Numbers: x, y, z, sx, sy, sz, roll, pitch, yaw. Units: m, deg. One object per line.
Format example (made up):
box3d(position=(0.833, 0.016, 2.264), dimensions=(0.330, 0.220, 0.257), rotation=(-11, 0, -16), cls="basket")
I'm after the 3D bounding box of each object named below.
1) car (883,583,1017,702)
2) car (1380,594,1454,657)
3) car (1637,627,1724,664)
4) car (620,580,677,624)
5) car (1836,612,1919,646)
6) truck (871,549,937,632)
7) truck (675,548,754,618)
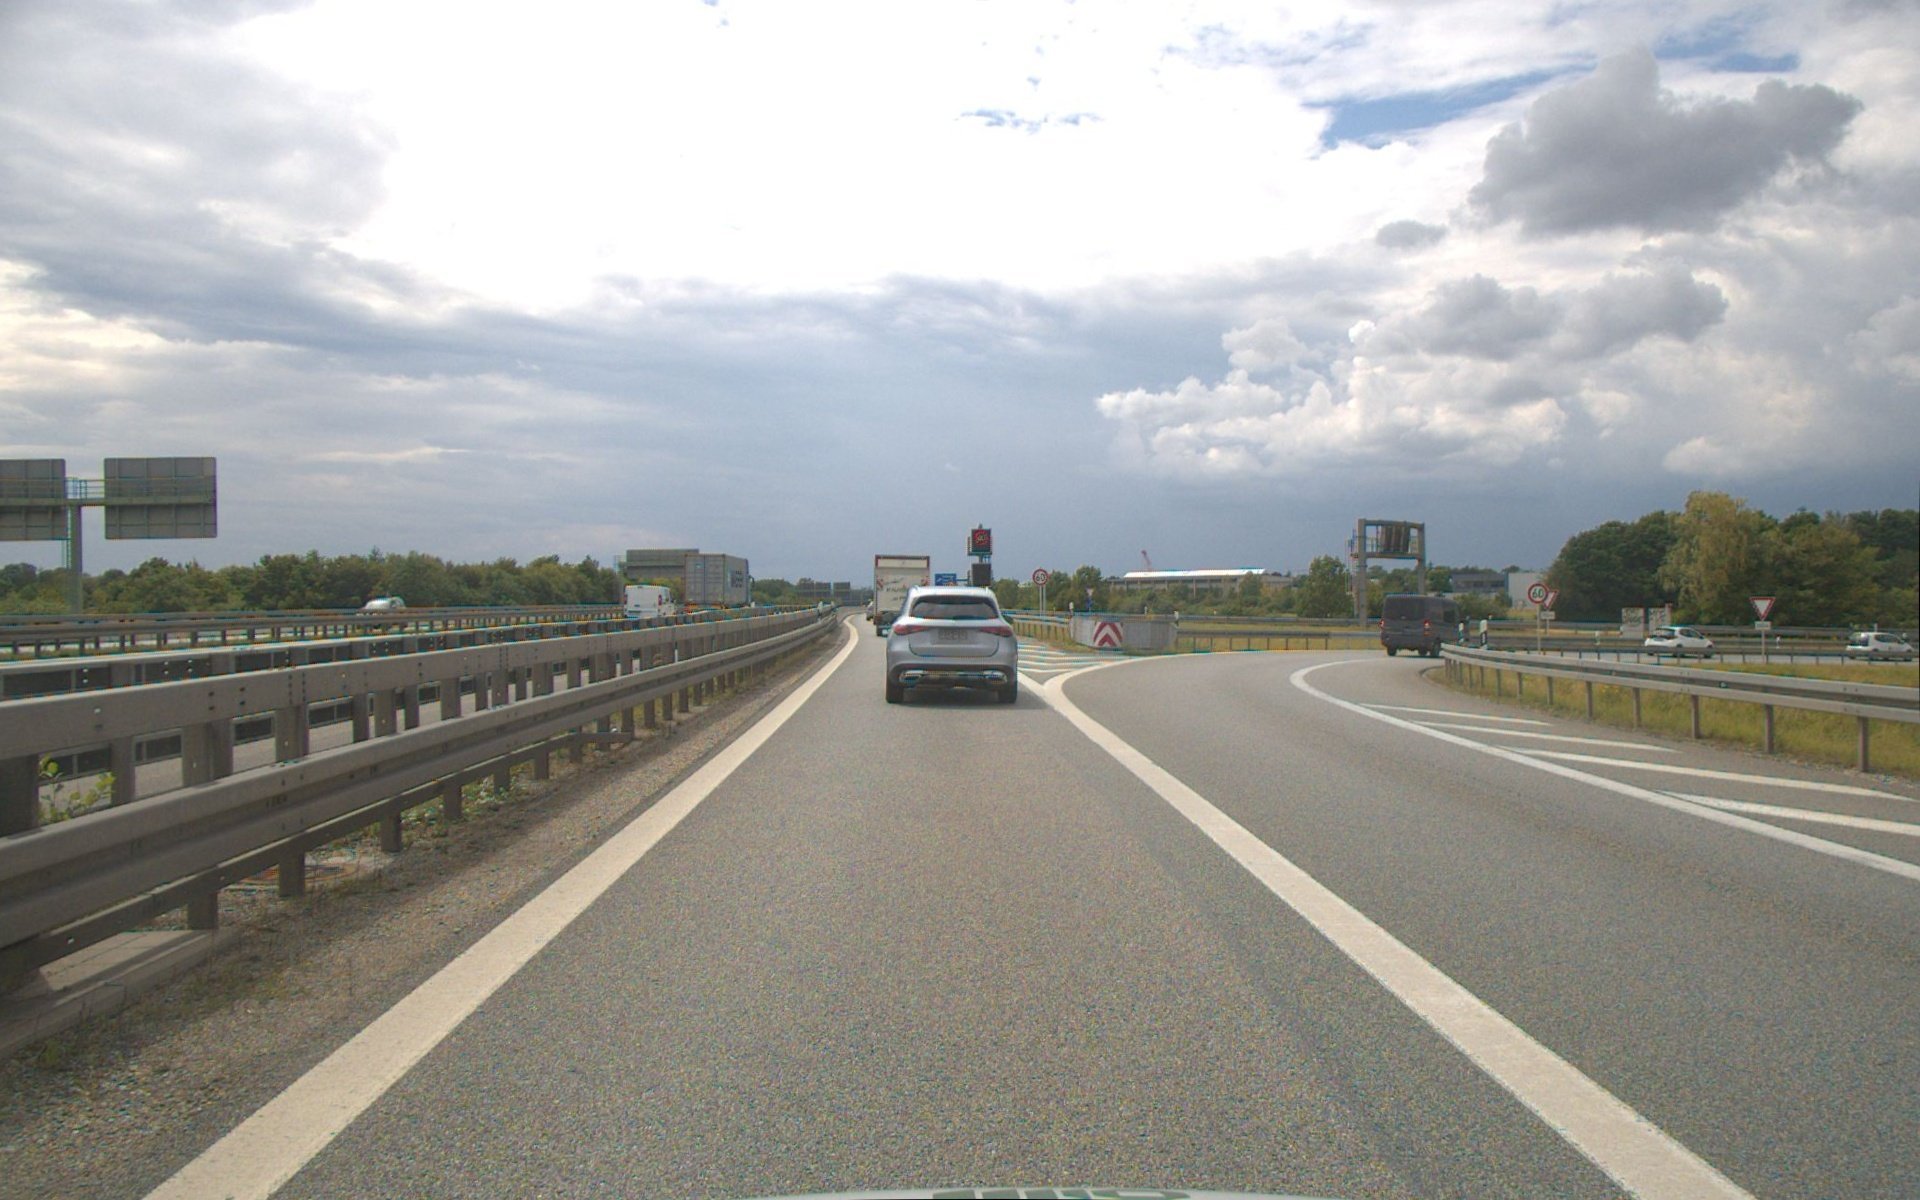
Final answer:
box3d(position=(-0.159, 0.557, 24.292), dimensions=(1.782, 1.541, 4.000), rotation=(1, 1, -1), cls="car")
box3d(position=(17.912, 0.969, 64.704), dimensions=(1.870, 2.301, 4.643), rotation=(1, 1, 27), cls="car")
box3d(position=(36.448, 2.260, 83.646), dimensions=(3.938, 1.739, 1.983), rotation=(0, 1, -26), cls="car")
box3d(position=(-15.162, 0.081, 80.721), dimensions=(1.953, 2.048, 4.374), rotation=(1, 1, -1), cls="car")
box3d(position=(49.924, 1.557, 89.685), dimensions=(3.918, 1.739, 1.993), rotation=(1, 1, -14), cls="car")
box3d(position=(-2.315, -0.356, 68.529), dimensions=(2.517, 3.180, 8.631), rotation=(1, 0, -2), cls="truck")
box3d(position=(-15.421, -1.132, 105.087), dimensions=(3.119, 4.089, 16.070), rotation=(1, 1, -2), cls="truck")
